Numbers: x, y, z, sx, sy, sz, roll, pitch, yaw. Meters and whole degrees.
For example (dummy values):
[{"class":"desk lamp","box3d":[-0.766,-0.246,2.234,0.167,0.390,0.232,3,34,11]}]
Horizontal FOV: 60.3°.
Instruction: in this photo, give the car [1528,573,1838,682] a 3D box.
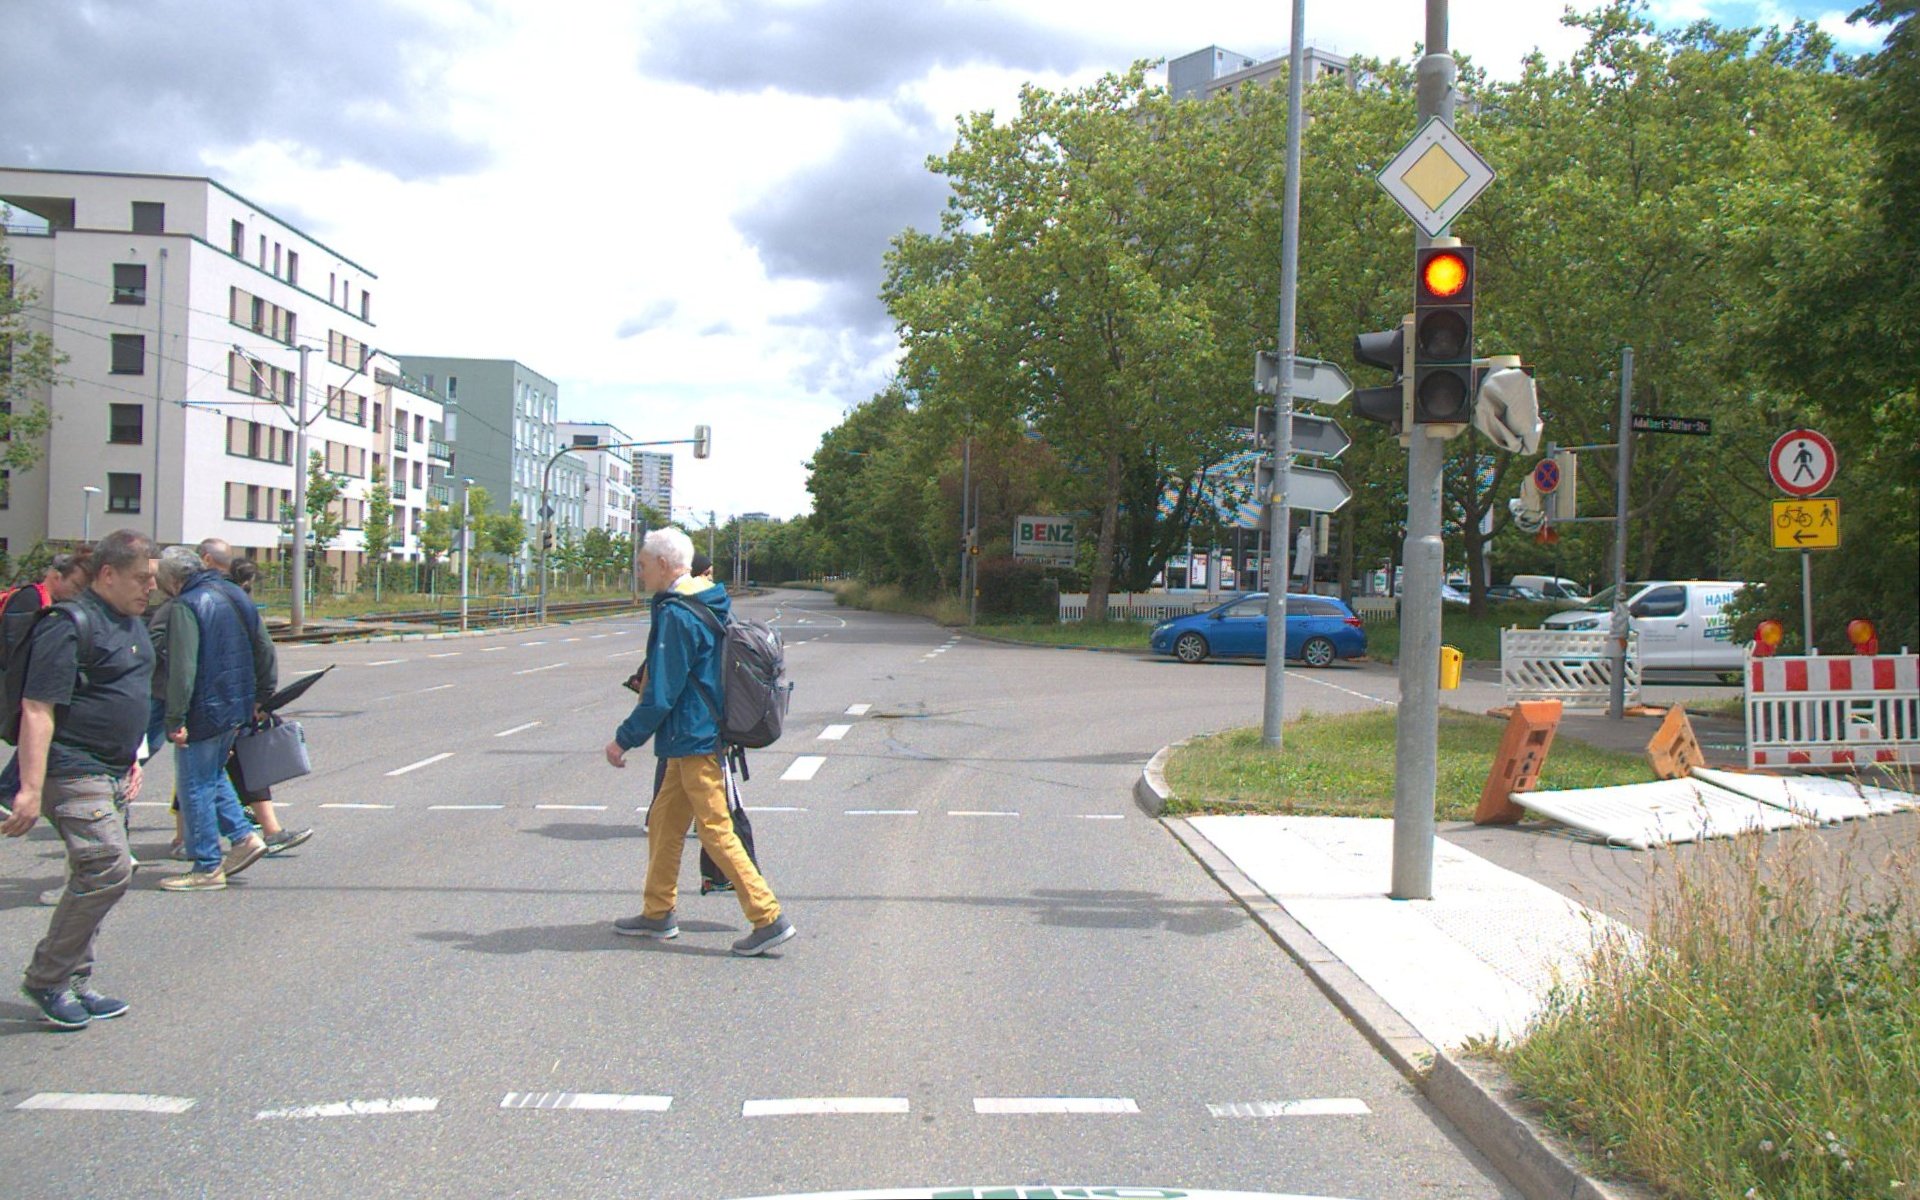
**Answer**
[{"class":"car","box3d":[13.423,0.499,30.861,4.976,1.906,1.947,1,0,-5]}]

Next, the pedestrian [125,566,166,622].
[{"class":"pedestrian","box3d":[-22.815,-0.173,46.329,0.814,1.542,0.636,1,0,-1]}]

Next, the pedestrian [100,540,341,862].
[{"class":"pedestrian","box3d":[-3.950,0.515,8.912,0.894,1.635,0.929,1,0,-4]}]

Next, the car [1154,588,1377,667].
[{"class":"car","box3d":[6.229,0.534,34.155,4.381,1.512,1.990,1,0,7]}]

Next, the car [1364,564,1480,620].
[{"class":"car","box3d":[17.519,-0.314,62.827,1.974,2.049,3.957,0,1,-32]}]

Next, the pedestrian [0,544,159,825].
[{"class":"pedestrian","box3d":[-5.589,0.481,10.098,0.873,1.624,0.909,1,0,10]}]

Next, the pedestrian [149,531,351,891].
[{"class":"pedestrian","box3d":[-3.468,0.512,8.143,0.856,1.663,0.760,1,0,-21]}]

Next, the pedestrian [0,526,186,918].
[{"class":"pedestrian","box3d":[-3.989,0.517,7.455,0.810,1.668,0.729,1,0,-20]}]

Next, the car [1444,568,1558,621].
[{"class":"car","box3d":[21.363,-0.234,65.461,1.974,2.049,3.957,0,1,-32]}]

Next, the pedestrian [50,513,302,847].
[{"class":"pedestrian","box3d":[-4.444,0.432,9.454,0.982,1.804,0.929,1,0,-1]}]

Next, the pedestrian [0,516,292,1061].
[{"class":"pedestrian","box3d":[-2.928,0.573,5.573,0.938,1.677,0.881,1,0,5]}]

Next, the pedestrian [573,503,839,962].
[{"class":"pedestrian","box3d":[-1.037,0.523,7.008,0.989,1.805,0.948,1,0,-3]}]

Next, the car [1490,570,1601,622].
[{"class":"car","box3d":[23.931,-0.182,67.697,1.974,2.049,3.957,0,1,-32]}]

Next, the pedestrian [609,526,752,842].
[{"class":"pedestrian","box3d":[-1.628,0.470,9.743,0.767,1.773,0.827,1,0,-7]}]
